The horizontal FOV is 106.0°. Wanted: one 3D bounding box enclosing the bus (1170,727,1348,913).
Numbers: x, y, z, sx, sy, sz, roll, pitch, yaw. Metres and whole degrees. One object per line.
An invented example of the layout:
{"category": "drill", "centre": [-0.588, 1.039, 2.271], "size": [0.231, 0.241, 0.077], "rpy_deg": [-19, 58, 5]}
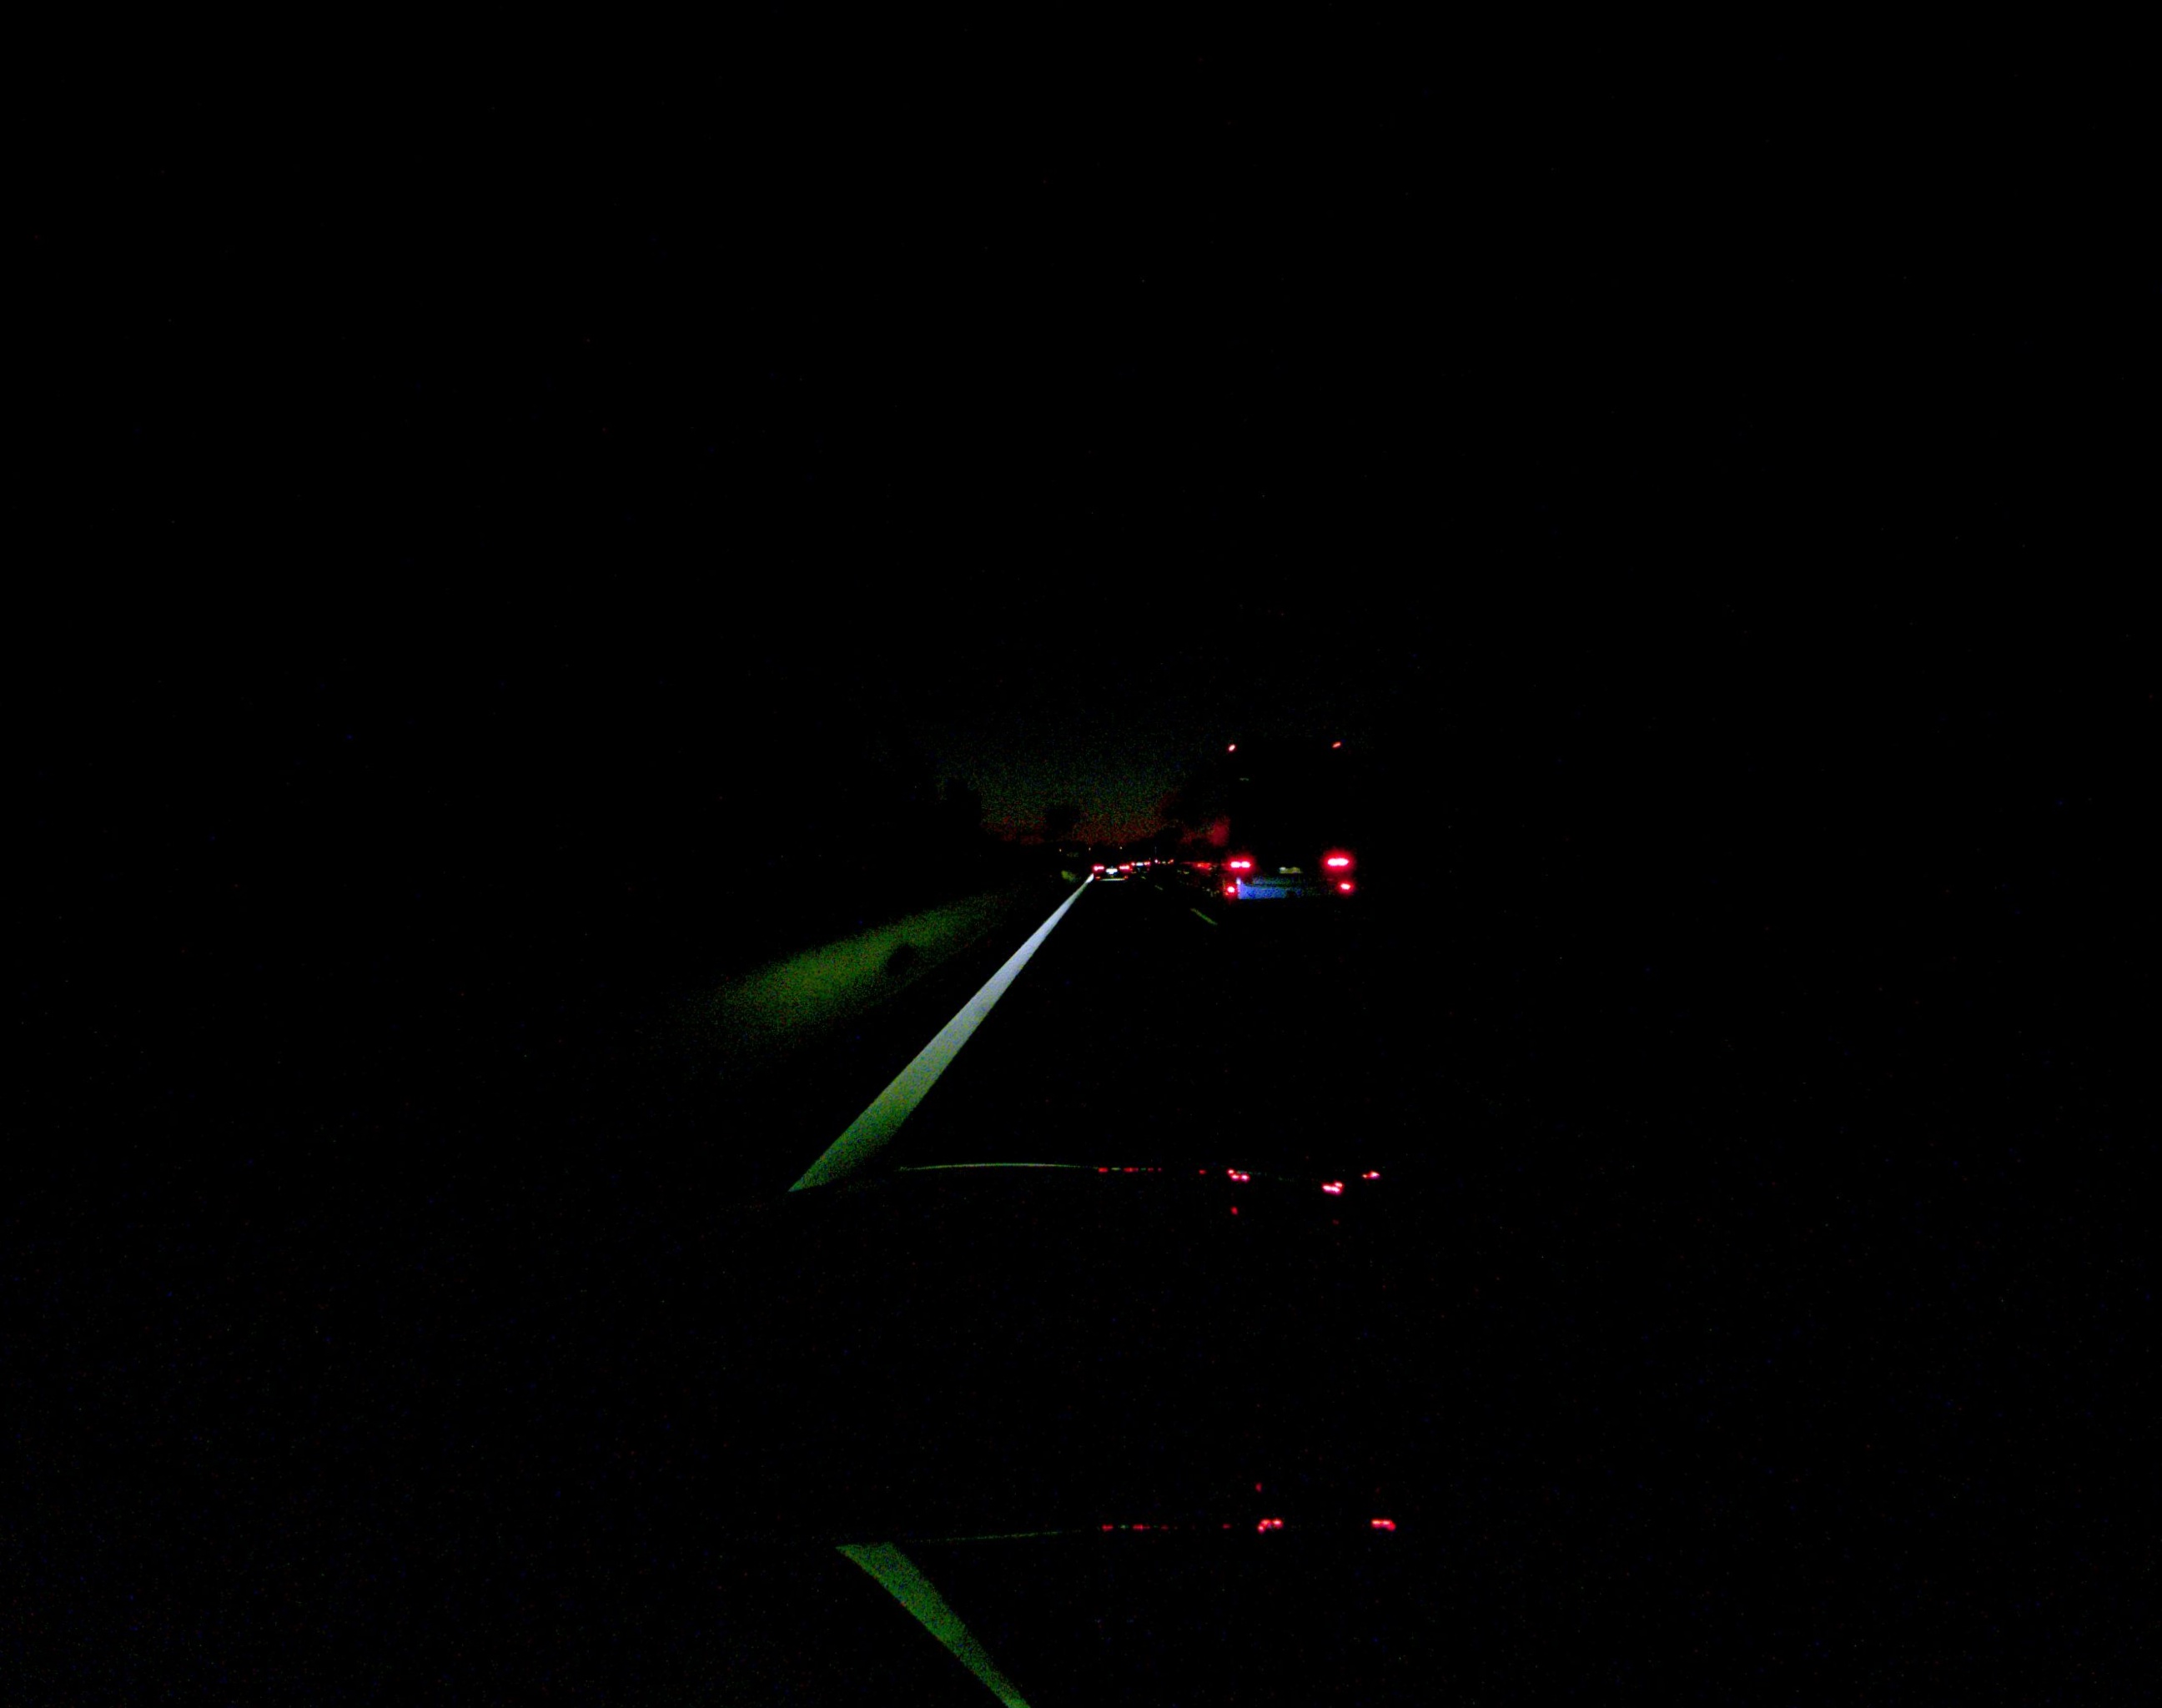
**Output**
{"category": "bus", "centre": [4.627, -0.655, 24.879], "size": [2.642, 3.994, 14.706], "rpy_deg": [0, -1, 2]}

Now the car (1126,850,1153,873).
{"category": "car", "centre": [4.664, 0.630, 65.744], "size": [1.905, 1.730, 3.999], "rpy_deg": [-1, -1, 0]}

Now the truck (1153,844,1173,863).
{"category": "truck", "centre": [12.821, -0.083, 127.966], "size": [2.593, 2.875, 7.487], "rpy_deg": [0, 0, 1]}

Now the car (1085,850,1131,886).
{"category": "car", "centre": [1.276, 0.670, 39.442], "size": [2.098, 1.618, 4.204], "rpy_deg": [0, -1, 1]}
